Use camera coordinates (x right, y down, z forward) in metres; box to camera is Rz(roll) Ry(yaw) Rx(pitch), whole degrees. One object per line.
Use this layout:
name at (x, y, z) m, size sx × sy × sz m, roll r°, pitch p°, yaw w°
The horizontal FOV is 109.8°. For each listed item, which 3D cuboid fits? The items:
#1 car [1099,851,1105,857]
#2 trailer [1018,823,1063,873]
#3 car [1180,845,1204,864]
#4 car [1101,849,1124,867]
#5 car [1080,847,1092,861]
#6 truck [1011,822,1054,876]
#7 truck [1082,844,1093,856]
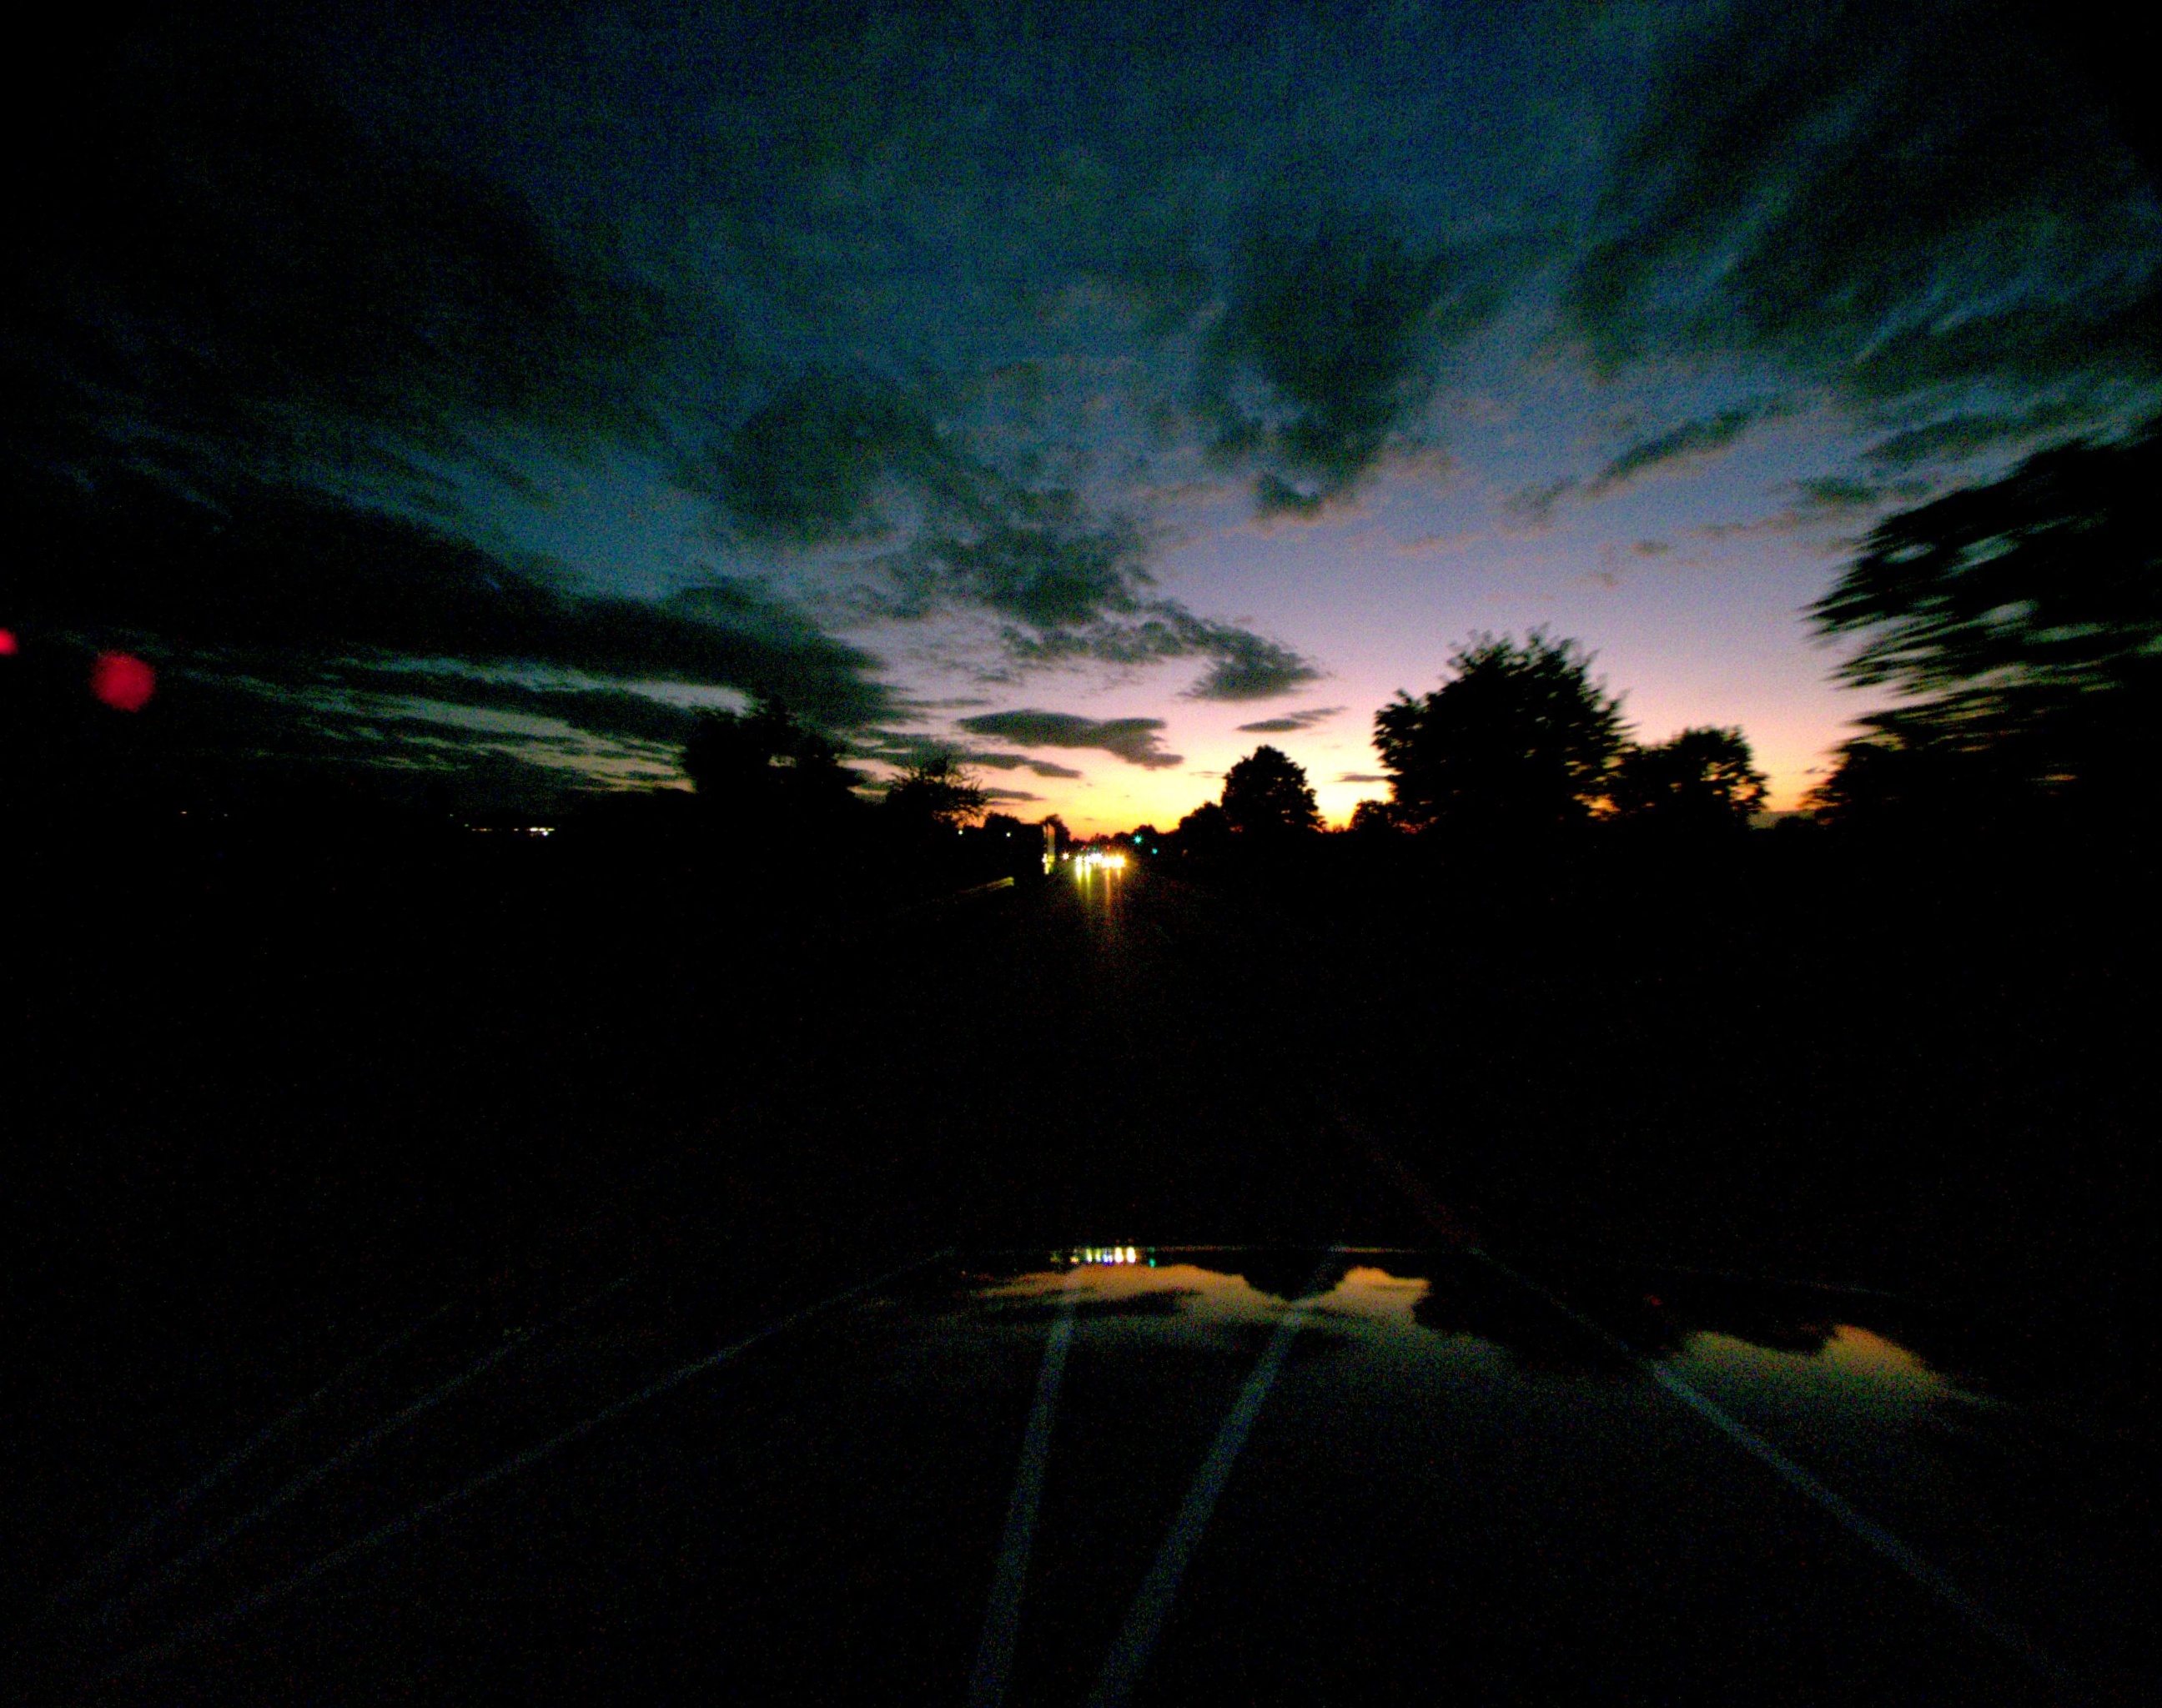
car at (6.734, 0.034, 242.124) m, size 1.998 × 2.002 × 4.000 m, roll -2°, pitch 1°, yaw 2°
trailer at (-3.279, -0.541, 64.781) m, size 2.474 × 3.790 × 12.671 m, roll -2°, pitch 1°, yaw 2°
car at (13.094, 0.015, 90.019) m, size 1.970 × 2.087 × 5.346 m, roll -2°, pitch 1°, yaw 0°
car at (3.157, 0.376, 76.687) m, size 1.999 × 1.635 × 4.296 m, roll -2°, pitch 1°, yaw -1°
car at (0.711, -0.040, 117.991) m, size 1.741 × 2.002 × 4.000 m, roll -2°, pitch 0°, yaw 0°
truck at (-3.563, -0.403, 57.064) m, size 2.490 × 3.778 × 5.498 m, roll -2°, pitch 1°, yaw 2°
truck at (2.006, -1.306, 236.566) m, size 3.016 × 3.674 × 9.057 m, roll -2°, pitch 1°, yaw 0°
